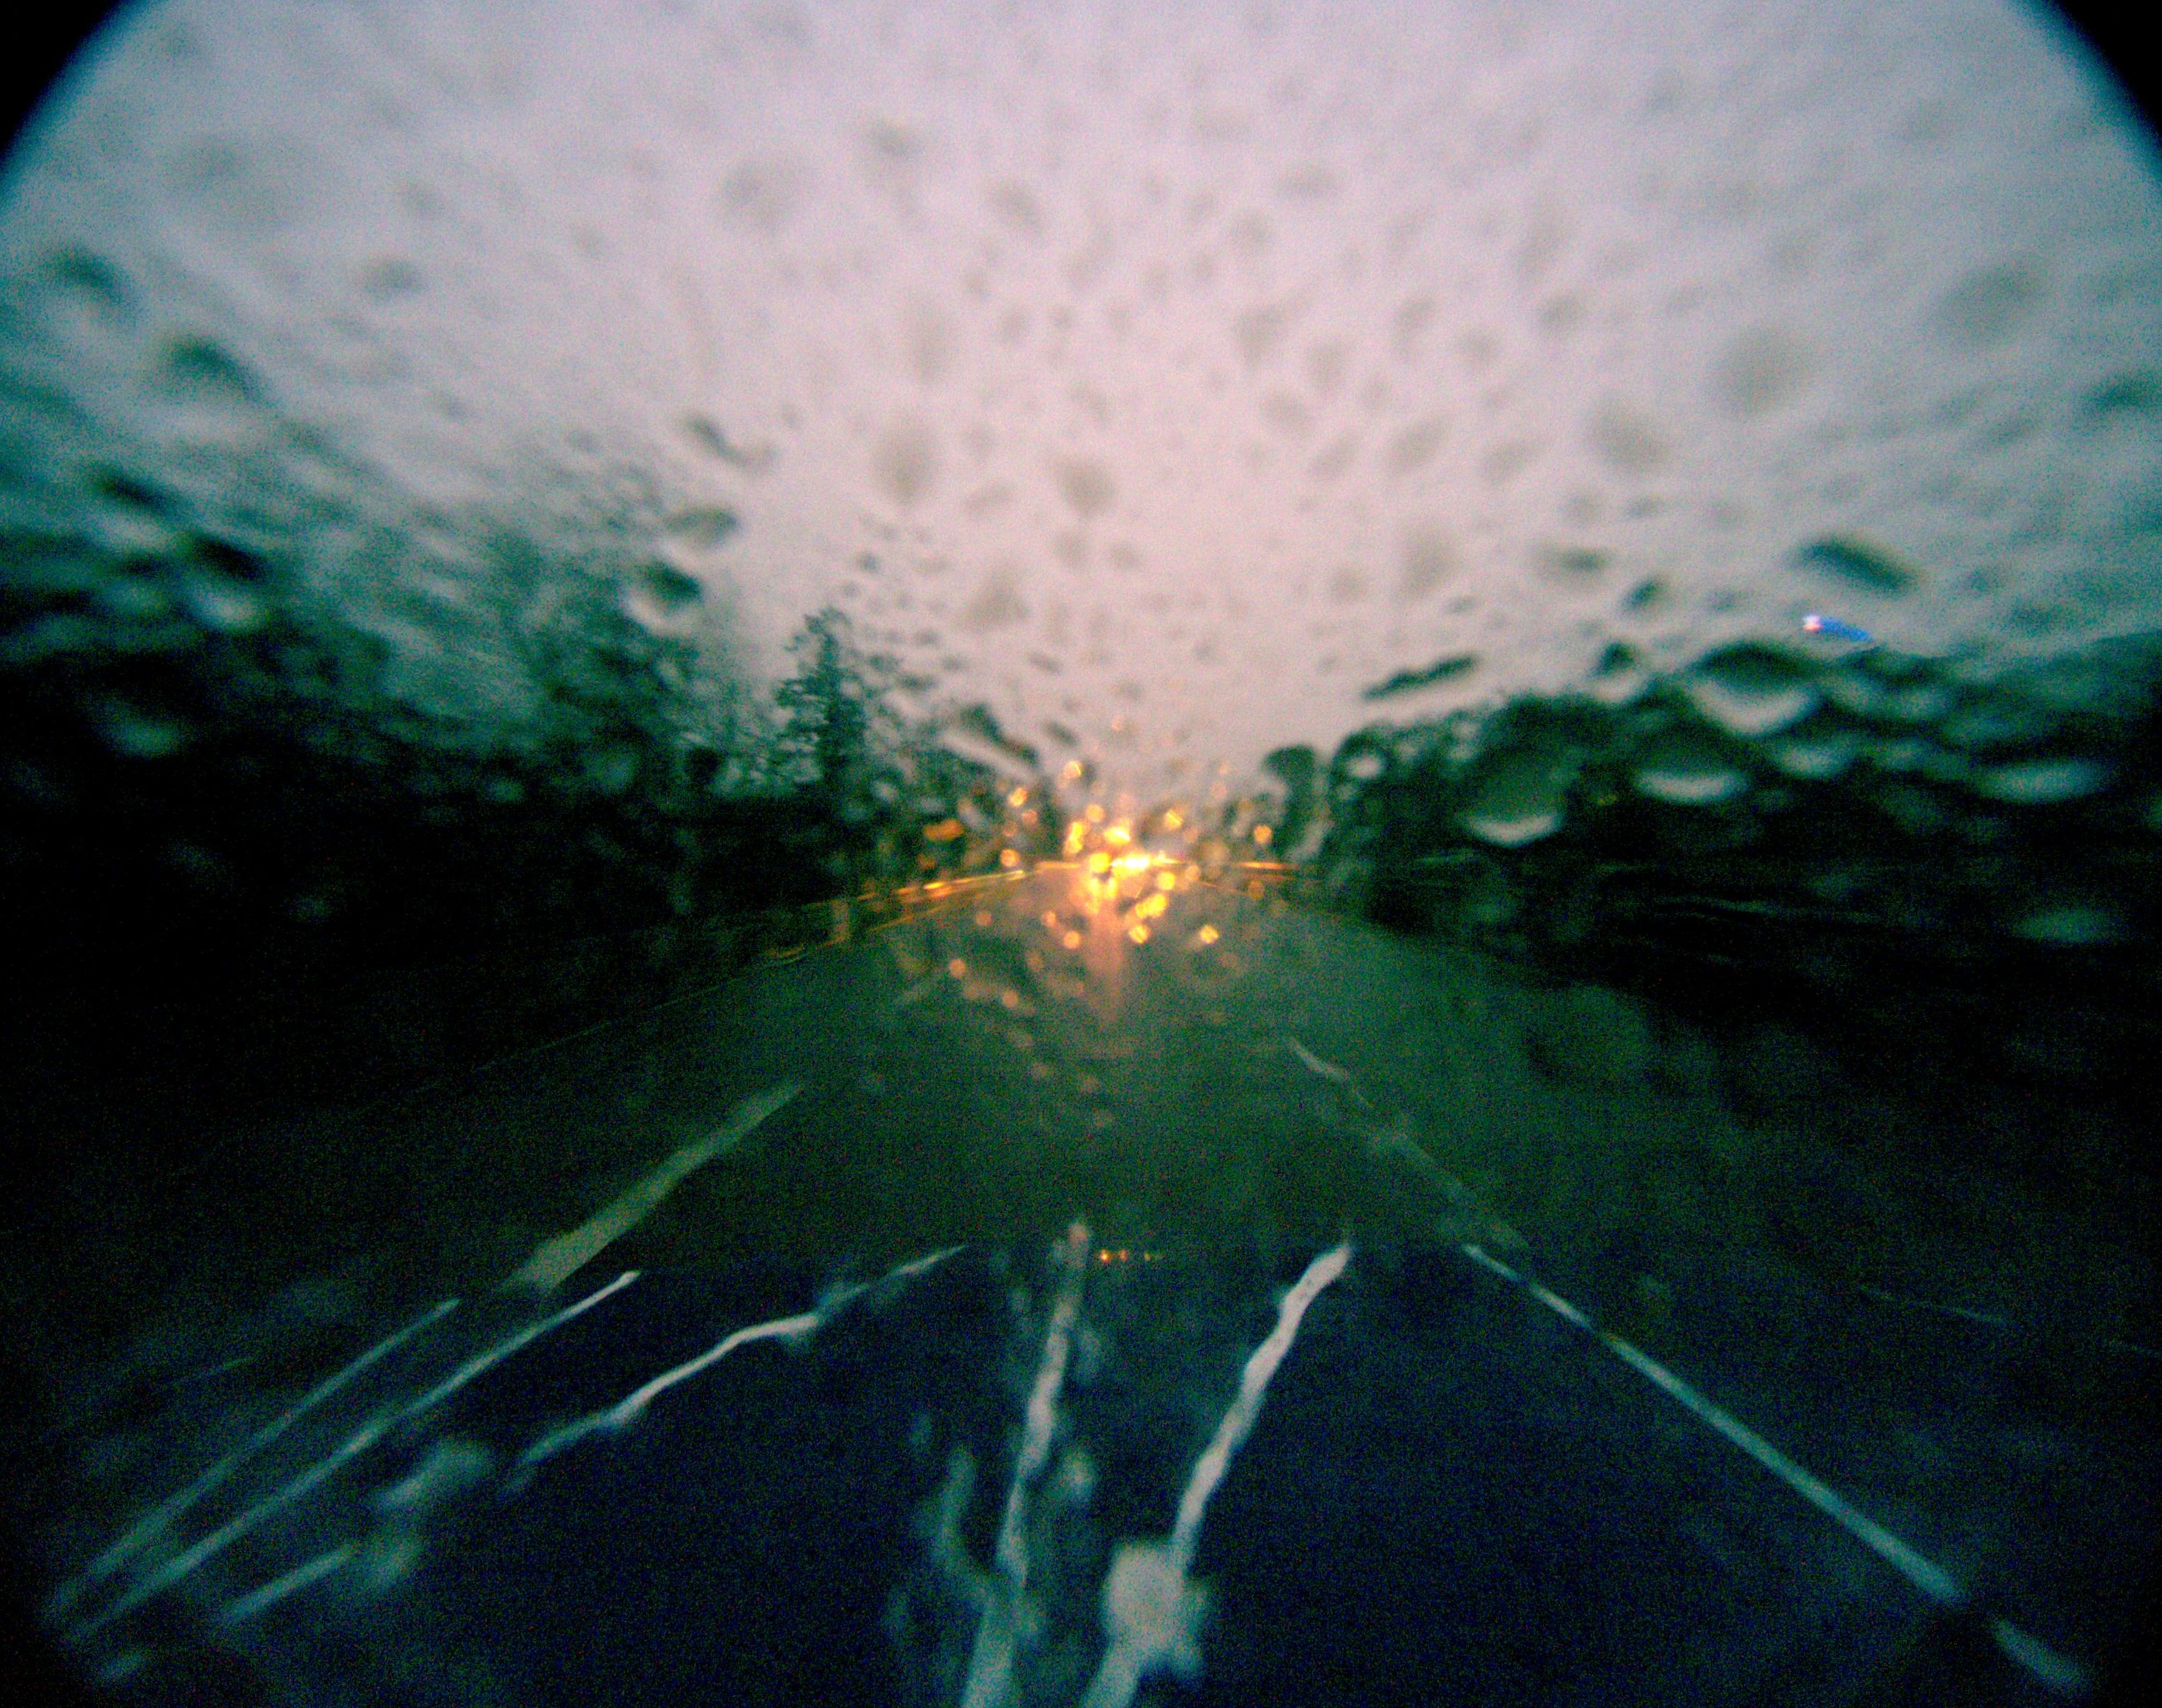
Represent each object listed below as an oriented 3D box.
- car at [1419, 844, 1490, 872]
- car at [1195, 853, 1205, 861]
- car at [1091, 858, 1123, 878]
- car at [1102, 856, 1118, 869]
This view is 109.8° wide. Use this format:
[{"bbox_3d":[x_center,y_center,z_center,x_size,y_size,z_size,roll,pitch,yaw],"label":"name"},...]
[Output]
[{"bbox_3d":[26.036,0.278,53.057,1.856,1.675,3.990,-4,0,-44],"label":"car"},{"bbox_3d":[27.602,0.768,176.319,1.647,1.775,4.208,-4,0,4],"label":"car"},{"bbox_3d":[2.115,1.069,60.462,1.951,1.511,4.791,-2,0,9],"label":"car"},{"bbox_3d":[3.860,1.154,100.903,1.841,1.553,3.868,-4,0,3],"label":"car"}]
